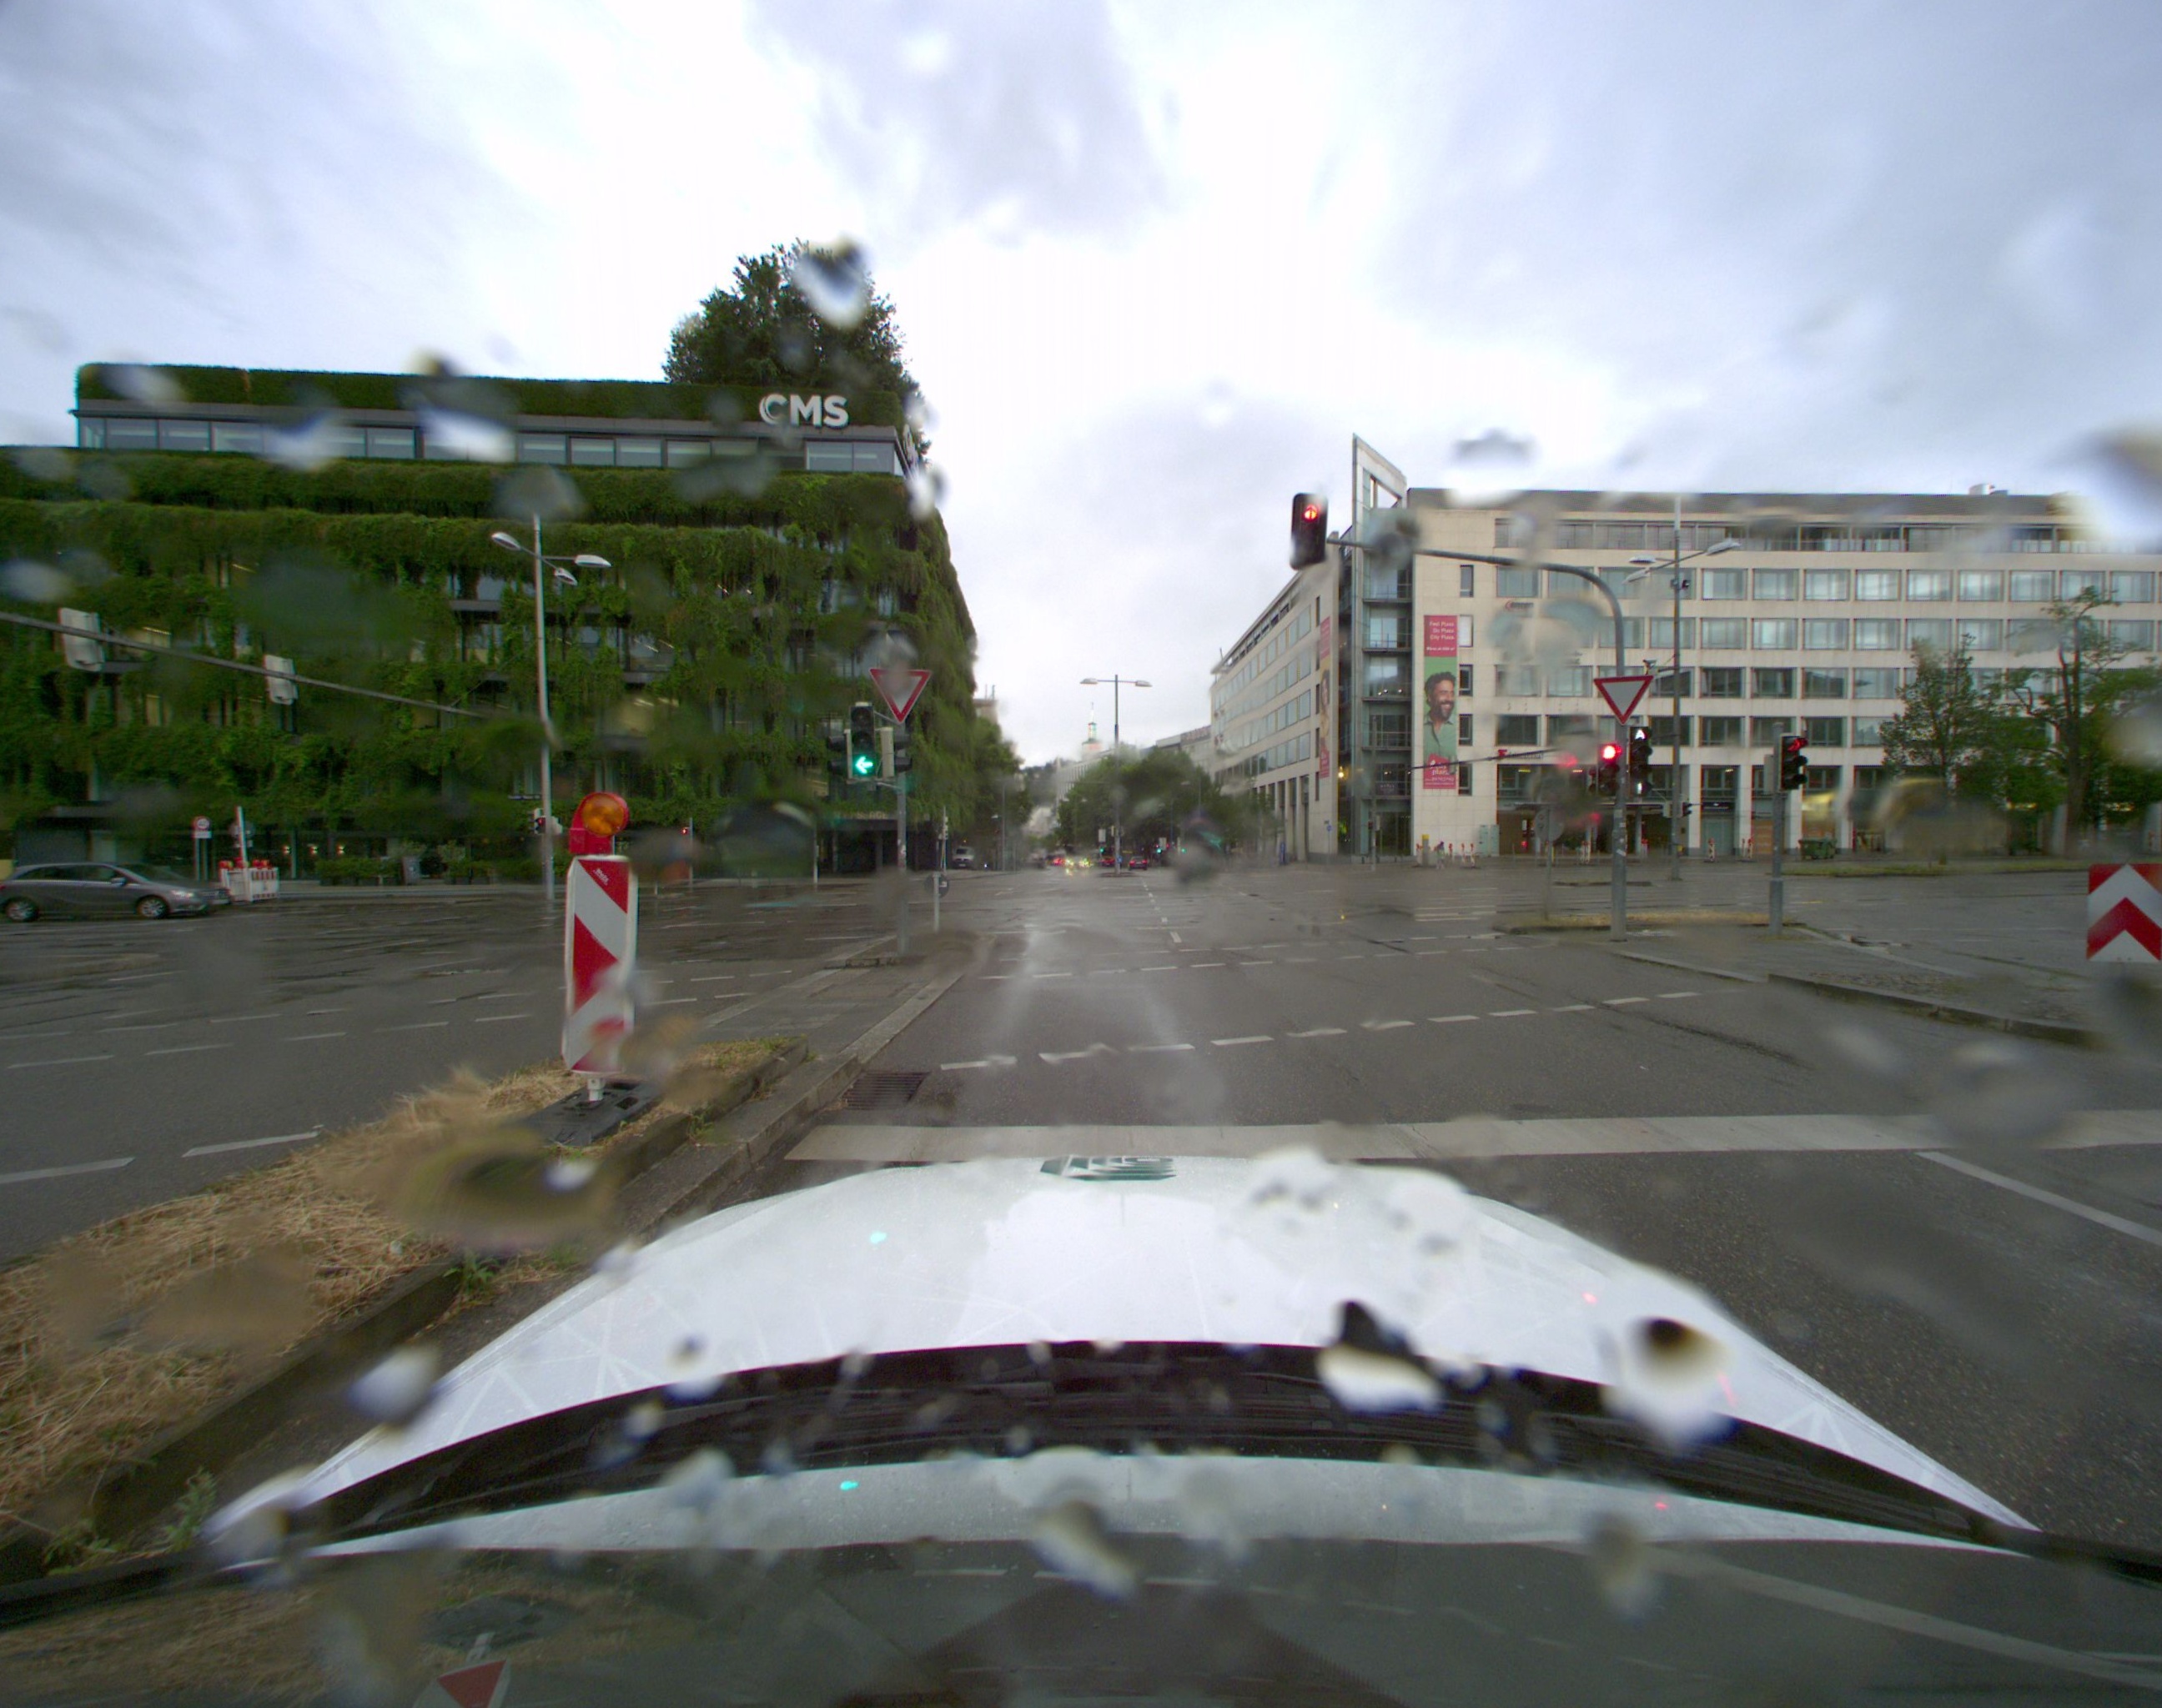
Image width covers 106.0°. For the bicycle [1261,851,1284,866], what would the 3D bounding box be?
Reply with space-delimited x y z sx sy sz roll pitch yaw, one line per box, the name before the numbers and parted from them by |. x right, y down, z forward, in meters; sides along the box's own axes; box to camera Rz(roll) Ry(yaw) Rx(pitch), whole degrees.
bicycle | 15.204 0.383 64.628 1.607 1.194 0.590 -1 -1 27

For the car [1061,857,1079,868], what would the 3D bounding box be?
car | -1.797 1.372 133.975 2.164 1.765 5.095 0 -1 -9

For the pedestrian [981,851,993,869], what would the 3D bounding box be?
pedestrian | -8.517 0.568 73.717 0.930 1.644 0.774 0 -1 1

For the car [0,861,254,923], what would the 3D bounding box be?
car | -26.121 0.984 22.047 4.901 1.488 1.924 -1 0 -15

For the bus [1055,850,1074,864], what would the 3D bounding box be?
bus | -3.542 0.613 173.556 2.631 2.995 7.294 -1 0 -13

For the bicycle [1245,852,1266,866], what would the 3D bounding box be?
bicycle | 15.290 0.440 71.392 1.770 1.194 0.587 0 -1 3

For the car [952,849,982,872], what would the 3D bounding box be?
car | -9.556 0.551 68.717 1.863 1.839 4.001 0 -1 2

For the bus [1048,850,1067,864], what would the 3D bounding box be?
bus | -5.238 0.619 180.699 2.631 2.995 7.415 -1 0 -13

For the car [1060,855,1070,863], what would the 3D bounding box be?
car | -3.250 1.064 168.349 1.775 1.508 4.001 0 -1 2

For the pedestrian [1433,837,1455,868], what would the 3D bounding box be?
pedestrian | 22.004 -0.085 49.370 0.958 1.816 0.837 0 -1 1

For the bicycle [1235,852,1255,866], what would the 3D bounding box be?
bicycle | 14.941 0.466 74.123 1.770 1.194 0.587 0 -1 3

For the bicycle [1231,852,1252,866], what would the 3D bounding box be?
bicycle | 14.299 0.457 72.586 1.770 1.194 0.587 0 -1 3

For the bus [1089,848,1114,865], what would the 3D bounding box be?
bus | 3.682 0.467 146.071 2.631 2.995 7.415 -1 0 -13

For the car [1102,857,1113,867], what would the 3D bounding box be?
car | 4.256 1.280 131.274 1.775 1.508 4.001 0 -1 2

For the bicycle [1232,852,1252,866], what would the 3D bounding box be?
bicycle | 14.474 0.461 73.216 1.770 1.194 0.587 0 -1 3

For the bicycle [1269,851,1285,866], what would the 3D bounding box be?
bicycle | 16.054 0.395 66.718 0.579 1.194 1.794 -1 -1 40

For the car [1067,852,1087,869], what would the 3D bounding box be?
car | -0.469 0.748 87.905 2.158 1.765 5.109 0 -1 -1

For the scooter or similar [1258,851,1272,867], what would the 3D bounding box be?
scooter or similar | 14.423 0.383 63.961 0.951 1.194 0.458 -1 -1 42

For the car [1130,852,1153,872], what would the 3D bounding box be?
car | 6.227 0.829 83.961 1.533 2.014 4.686 -1 -1 15

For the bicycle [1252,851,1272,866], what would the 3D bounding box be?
bicycle | 14.731 0.400 66.192 0.588 1.194 1.768 0 -1 -26

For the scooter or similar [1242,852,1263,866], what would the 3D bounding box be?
scooter or similar | 14.911 0.437 70.778 1.770 1.194 0.587 0 -1 3

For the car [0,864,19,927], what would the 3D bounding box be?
car | -27.338 1.002 18.290 3.981 1.475 1.996 -1 0 -6

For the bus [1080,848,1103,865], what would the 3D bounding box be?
bus | 1.989 0.479 153.263 2.631 2.995 7.415 -1 0 -13
